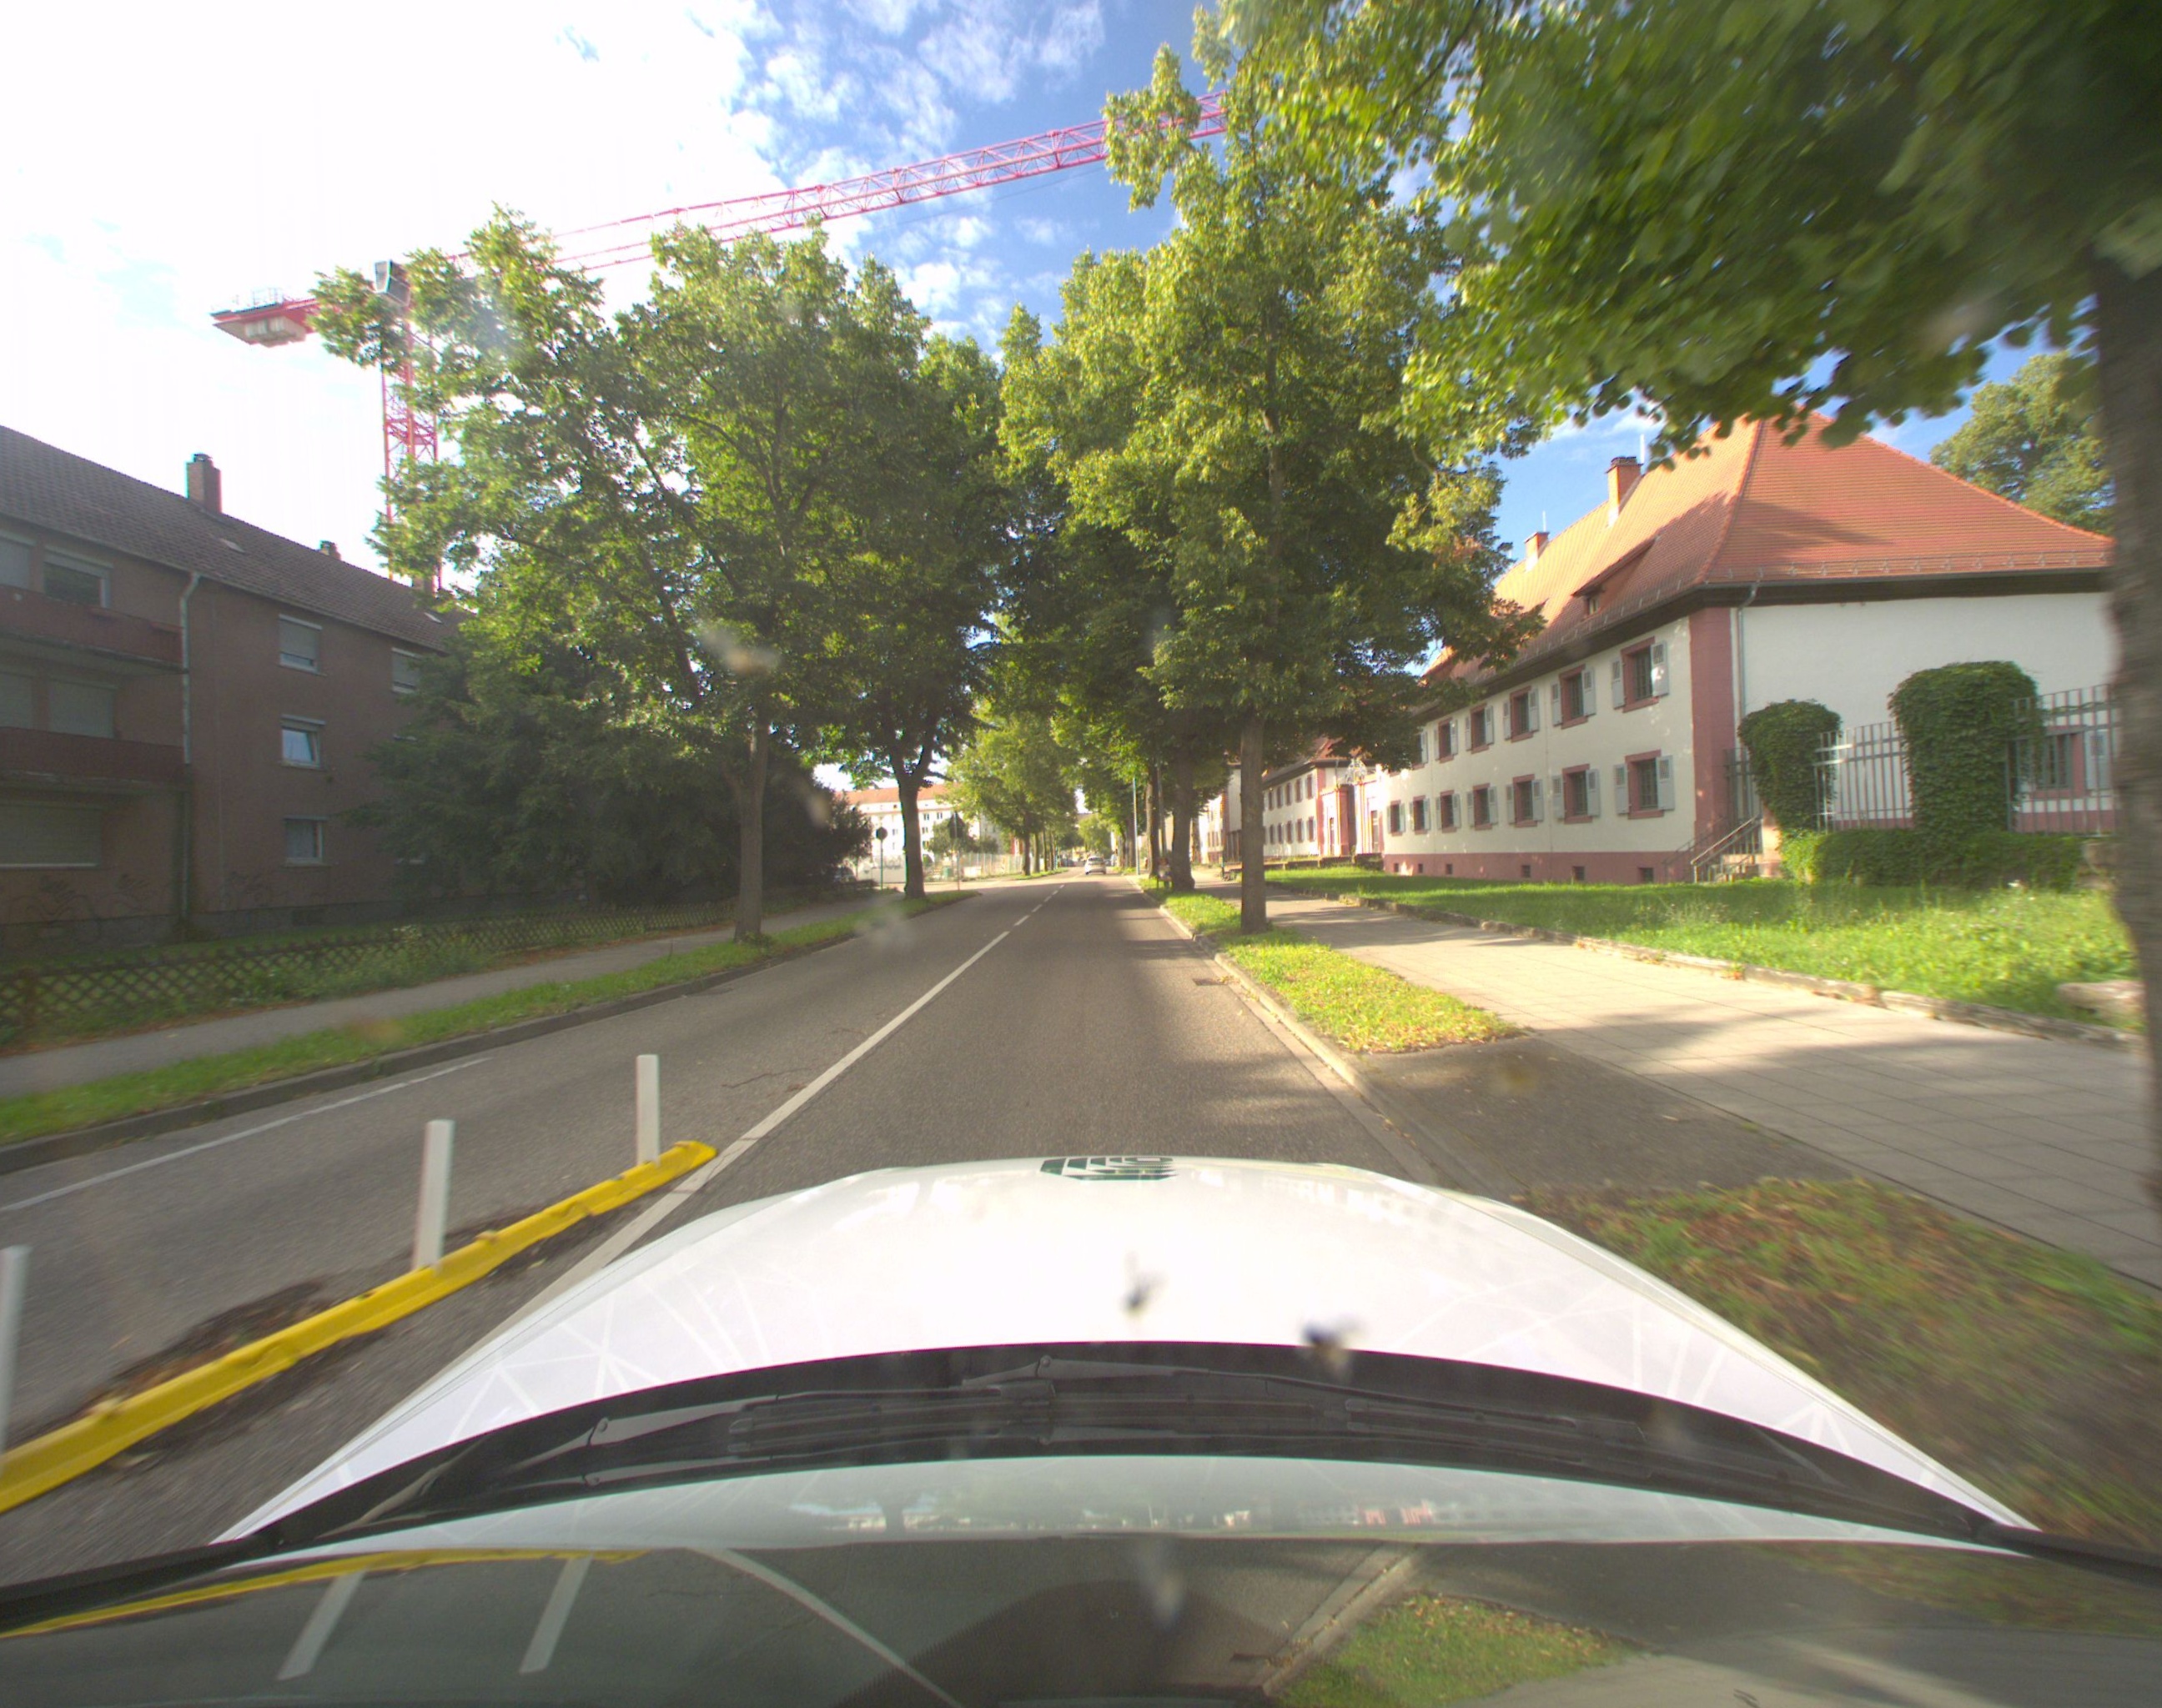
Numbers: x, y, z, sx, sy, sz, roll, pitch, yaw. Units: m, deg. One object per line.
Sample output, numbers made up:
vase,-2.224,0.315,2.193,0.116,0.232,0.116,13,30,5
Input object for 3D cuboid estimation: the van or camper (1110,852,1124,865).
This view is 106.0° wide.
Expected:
van or camper,7.549,0.921,170.125,2.204,2.607,5.365,-3,0,-3

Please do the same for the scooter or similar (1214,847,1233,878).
scooter or similar,6.368,0.377,36.351,0.577,1.291,1.382,-4,0,3

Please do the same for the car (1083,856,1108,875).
car,1.218,1.043,71.626,1.988,1.555,4.270,-1,-1,-2

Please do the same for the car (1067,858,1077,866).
car,-2.087,1.810,186.558,1.991,1.640,3.992,-3,0,-5

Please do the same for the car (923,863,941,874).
car,-30.200,2.853,165.422,1.978,2.013,4.017,-3,0,16

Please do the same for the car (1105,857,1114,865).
car,6.692,1.651,191.614,1.987,1.574,4.000,-3,0,0

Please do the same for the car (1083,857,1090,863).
car,1.700,1.692,247.123,1.986,1.755,4.001,-1,-1,2

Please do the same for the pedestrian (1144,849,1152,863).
pedestrian,7.584,0.202,92.651,0.811,1.590,0.769,-2,0,0

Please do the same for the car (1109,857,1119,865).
car,7.302,1.509,181.053,1.987,1.574,4.000,-3,0,0
